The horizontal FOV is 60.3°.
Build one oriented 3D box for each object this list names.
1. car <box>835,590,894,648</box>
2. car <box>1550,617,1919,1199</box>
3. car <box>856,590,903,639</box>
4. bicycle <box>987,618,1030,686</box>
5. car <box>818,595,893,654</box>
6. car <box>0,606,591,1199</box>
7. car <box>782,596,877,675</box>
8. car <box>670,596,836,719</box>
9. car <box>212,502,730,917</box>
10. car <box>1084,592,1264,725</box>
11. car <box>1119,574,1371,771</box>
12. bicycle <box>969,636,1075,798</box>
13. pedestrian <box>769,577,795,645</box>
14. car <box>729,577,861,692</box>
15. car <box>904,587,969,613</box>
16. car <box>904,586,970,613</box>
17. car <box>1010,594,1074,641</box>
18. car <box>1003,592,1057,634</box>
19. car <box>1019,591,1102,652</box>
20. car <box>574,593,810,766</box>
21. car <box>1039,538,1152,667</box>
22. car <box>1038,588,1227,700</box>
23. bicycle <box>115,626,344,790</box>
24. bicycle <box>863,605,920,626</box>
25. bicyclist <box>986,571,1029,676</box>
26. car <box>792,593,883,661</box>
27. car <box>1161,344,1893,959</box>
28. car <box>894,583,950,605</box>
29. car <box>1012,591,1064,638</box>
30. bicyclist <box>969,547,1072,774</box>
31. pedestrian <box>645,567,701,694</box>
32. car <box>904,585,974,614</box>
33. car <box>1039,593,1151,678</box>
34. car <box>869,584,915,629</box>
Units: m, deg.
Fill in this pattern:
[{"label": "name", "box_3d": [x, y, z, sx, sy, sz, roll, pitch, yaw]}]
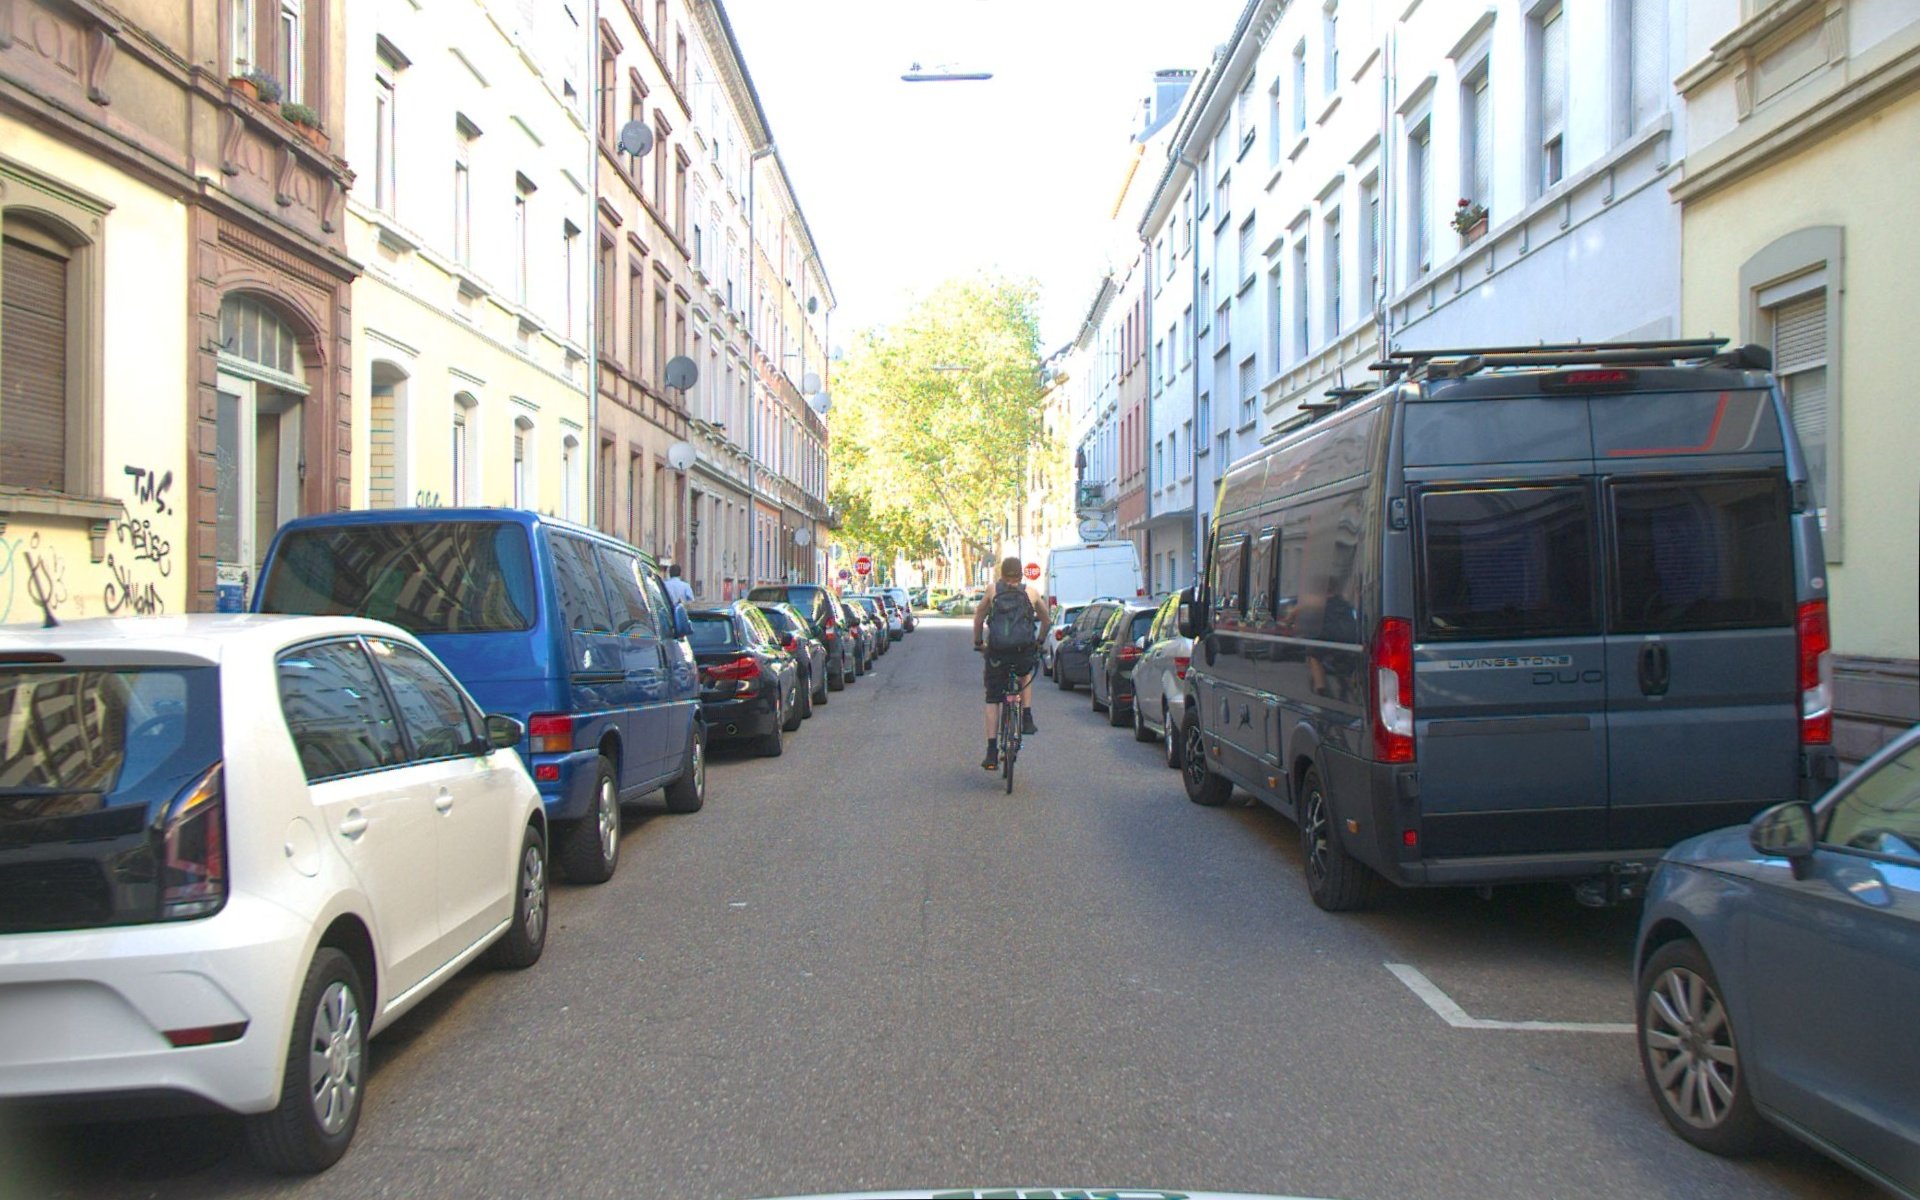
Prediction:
[{"label": "car", "box_3d": [-2.750, 0.520, 48.020, 1.572, 1.556, 3.378, -2, 0, -2]}, {"label": "car", "box_3d": [2.918, 0.808, 3.690, 1.711, 1.469, 4.172, 0, 0, 0]}, {"label": "car", "box_3d": [-2.710, 0.461, 55.396, 1.513, 1.578, 3.463, -1, 0, -3]}, {"label": "bicycle", "box_3d": [0.792, 0.841, 27.408, 0.650, 1.055, 1.958, -1, 0, 0]}, {"label": "car", "box_3d": [-2.672, 0.603, 43.061, 1.671, 1.438, 4.302, -1, 0, 0]}, {"label": "car", "box_3d": [-2.470, 0.786, 5.738, 1.612, 1.472, 3.838, -1, 0, -2]}, {"label": "car", "box_3d": [-2.548, 0.667, 33.026, 1.559, 1.465, 3.654, -1, 0, 1]}, {"label": "car", "box_3d": [-2.665, 0.696, 22.087, 1.701, 1.452, 4.000, -1, 0, 0]}, {"label": "car", "box_3d": [-2.691, 0.515, 10.332, 1.790, 1.924, 4.613, -3, 0, 0]}, {"label": "car", "box_3d": [2.626, 0.665, 21.200, 1.710, 1.511, 4.242, -1, 0, -1]}, {"label": "car", "box_3d": [2.670, 0.610, 16.449, 1.659, 1.636, 4.374, -2, 0, -1]}, {"label": "bicycle", "box_3d": [0.459, 0.884, 13.166, 0.725, 1.120, 2.042, 1, 0, -1]}, {"label": "pedestrian", "box_3d": [-5.053, 0.302, 46.964, 0.598, 1.890, 0.754, 2, 0, -1]}, {"label": "car", "box_3d": [-2.716, 0.528, 28.046, 1.764, 1.728, 4.000, -3, 0, 0]}, {"label": "car", "box_3d": [-1.650, -0.033, 115.419, 4.381, 1.725, 1.864, -1, 0, -5]}, {"label": "car", "box_3d": [-1.569, -0.029, 111.728, 4.381, 1.725, 1.864, -1, 0, -5]}, {"label": "car", "box_3d": [2.462, 0.515, 50.712, 1.624, 1.361, 3.999, -1, 0, -2]}, {"label": "car", "box_3d": [2.554, 0.461, 61.262, 1.676, 1.496, 3.999, -1, 0, -2]}, {"label": "car", "box_3d": [2.564, 0.522, 43.008, 1.696, 1.496, 4.019, -1, 0, -3]}, {"label": "car", "box_3d": [-2.591, 0.696, 17.026, 1.824, 1.465, 4.643, -1, 1, -2]}, {"label": "car", "box_3d": [2.885, 0.031, 36.480, 2.158, 2.595, 6.037, -1, 0, 2]}, {"label": "car", "box_3d": [2.627, 0.619, 26.359, 1.778, 1.503, 4.598, -4, 1, -9]}, {"label": "bicycle", "box_3d": [-5.418, 0.762, 12.423, 0.739, 1.038, 2.029, 3, 0, 1]}, {"label": "bicycle", "box_3d": [-3.183, 0.716, 77.071, 2.661, 0.907, 0.618, -1, 0, -3]}, {"label": "bicyclist", "box_3d": [0.776, 0.382, 27.290, 0.656, 1.687, 0.877, -1, 0, 0]}, {"label": "car", "box_3d": [-2.765, 0.587, 38.001, 1.639, 1.455, 3.889, -1, 0, 2]}, {"label": "car", "box_3d": [2.725, 0.188, 9.971, 2.131, 2.467, 6.308, -2, 0, -1]}, {"label": "car", "box_3d": [-3.026, -0.469, 131.956, 4.381, 1.725, 1.864, -1, 0, -5]}, {"label": "car", "box_3d": [2.610, 0.472, 55.805, 1.559, 1.518, 3.876, -1, 0, 0]}, {"label": "bicyclist", "box_3d": [0.463, 0.455, 13.098, 0.725, 1.708, 1.116, 1, 0, -1]}, {"label": "pedestrian", "box_3d": [-4.290, 0.446, 24.753, 0.637, 1.849, 0.754, 2, 0, 0]}, {"label": "car", "box_3d": [-1.359, -0.040, 107.062, 4.381, 1.790, 1.864, -1, 0, -5]}, {"label": "car", "box_3d": [2.473, 0.613, 31.035, 1.690, 1.454, 3.831, -1, 0, -2]}, {"label": "car", "box_3d": [-2.754, 0.255, 67.597, 1.751, 1.767, 3.875, -1, 0, -1]}]
